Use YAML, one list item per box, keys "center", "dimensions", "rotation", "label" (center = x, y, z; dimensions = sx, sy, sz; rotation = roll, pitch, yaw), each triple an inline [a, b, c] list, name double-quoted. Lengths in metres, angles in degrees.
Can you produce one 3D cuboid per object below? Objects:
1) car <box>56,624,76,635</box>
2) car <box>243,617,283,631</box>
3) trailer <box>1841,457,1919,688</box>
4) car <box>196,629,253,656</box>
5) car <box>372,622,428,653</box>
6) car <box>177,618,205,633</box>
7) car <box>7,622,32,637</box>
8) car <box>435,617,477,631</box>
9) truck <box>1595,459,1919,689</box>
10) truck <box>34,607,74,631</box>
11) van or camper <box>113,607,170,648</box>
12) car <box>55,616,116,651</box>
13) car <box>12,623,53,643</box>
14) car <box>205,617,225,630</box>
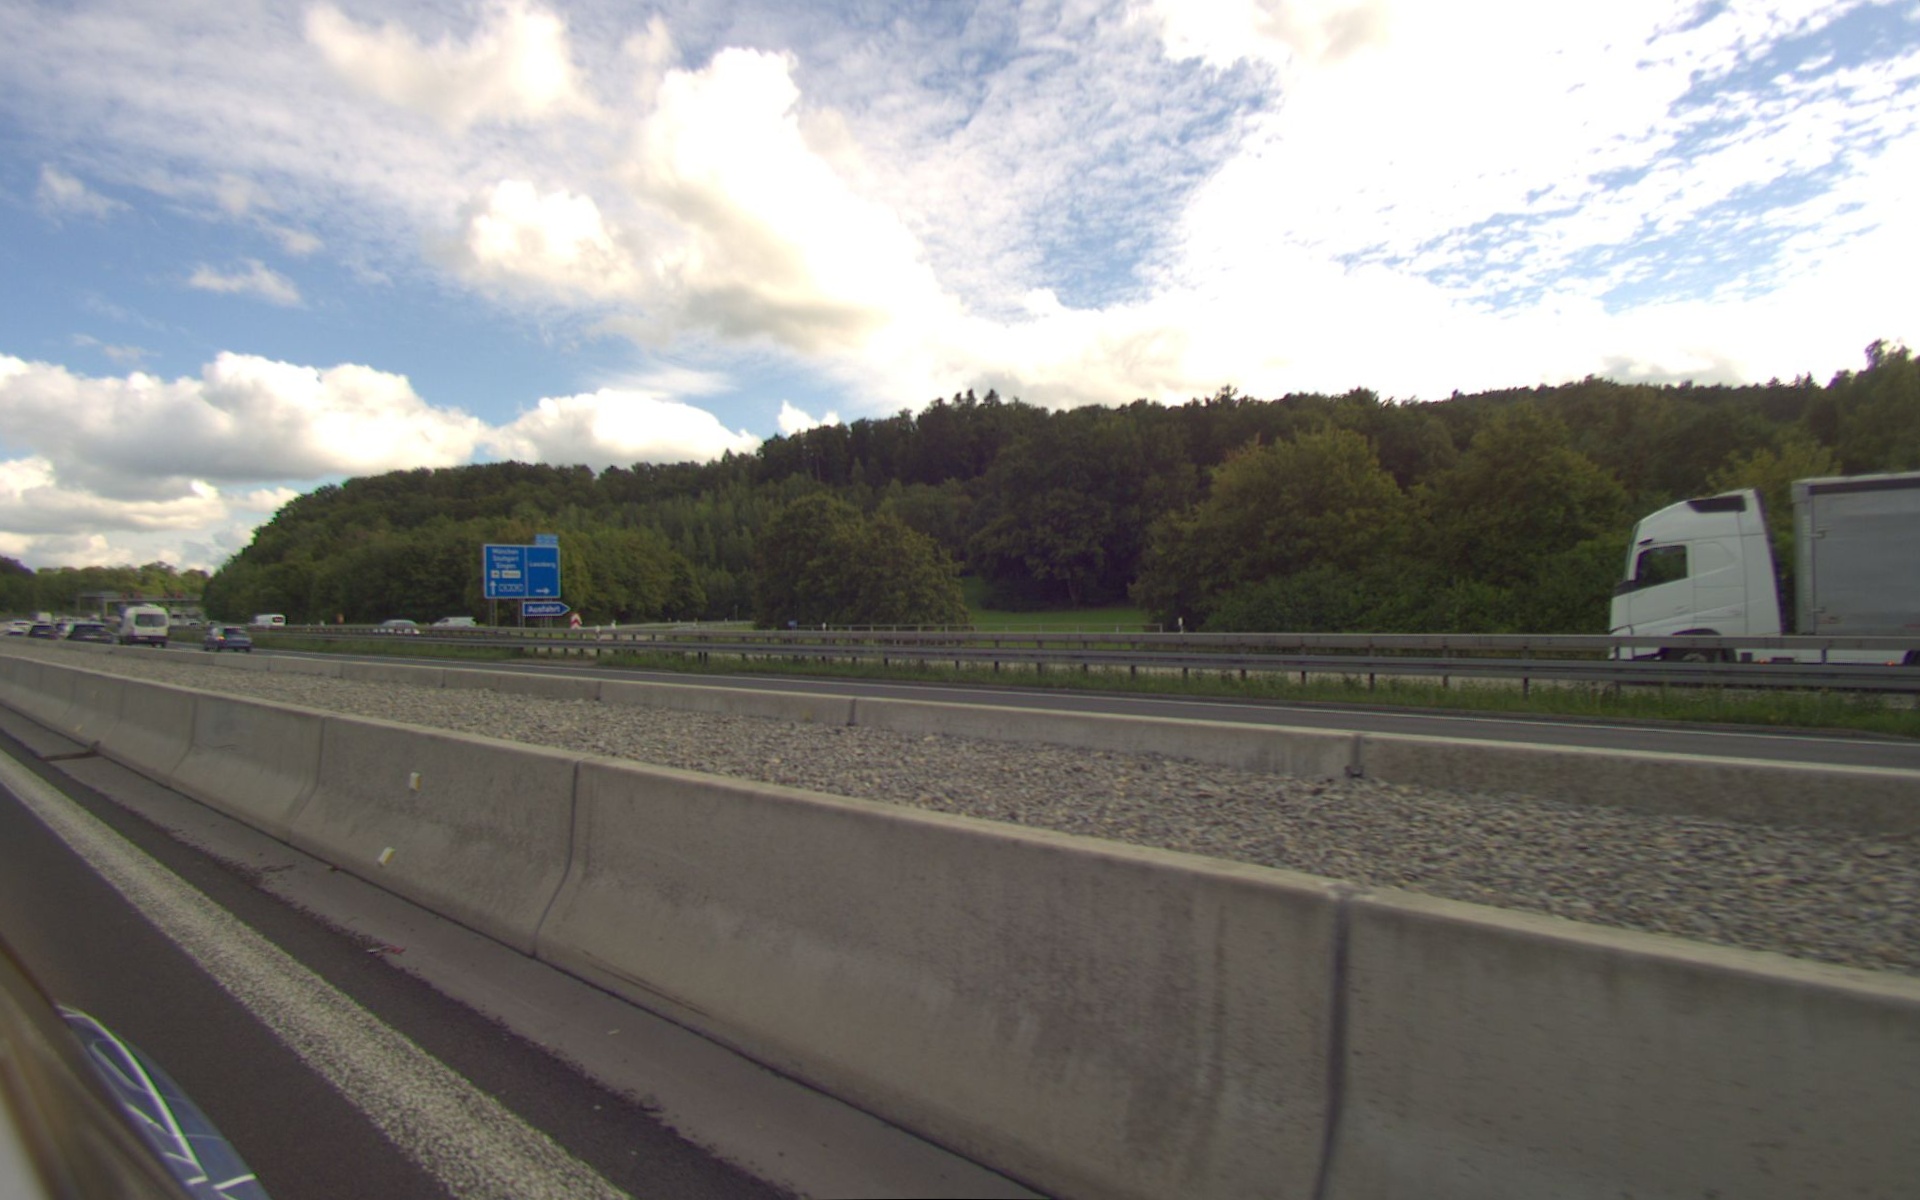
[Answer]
- center: [-125.796, 4.157, 142.427]
  dimensions: [1.871, 1.464, 3.943]
  rotation: [1, -1, -39]
  label: "car"
- center: [-100.476, 3.477, 145.867]
  dimensions: [5.110, 2.029, 1.990]
  rotation: [0, -1, 16]
  label: "car"
- center: [22.408, -0.545, 15.483]
  dimensions: [13.380, 4.124, 3.119]
  rotation: [-1, -1, 41]
  label: "trailer"
- center: [-41.844, 2.405, 57.540]
  dimensions: [4.206, 1.432, 1.732]
  rotation: [-1, -1, 41]
  label: "car"
- center: [-35.123, 2.312, 63.409]
  dimensions: [4.001, 1.852, 1.971]
  rotation: [-1, -1, 44]
  label: "car"
- center: [-92.629, 3.048, 121.910]
  dimensions: [4.000, 1.785, 1.972]
  rotation: [-1, -1, 43]
  label: "car"
- center: [-95.786, 2.990, 103.067]
  dimensions: [1.730, 1.464, 3.941]
  rotation: [1, -1, -42]
  label: "car"
- center: [-71.024, 3.381, 142.748]
  dimensions: [5.068, 1.937, 2.181]
  rotation: [0, -1, -17]
  label: "car"
- center: [16.773, -0.434, 20.437]
  dimensions: [6.284, 4.097, 3.119]
  rotation: [-1, -1, 41]
  label: "truck"
- center: [-170.801, 3.549, 190.813]
  dimensions: [3.549, 4.364, 8.558]
  rotation: [0, -1, -28]
  label: "truck"
- center: [-53.244, 1.748, 65.793]
  dimensions: [5.422, 2.554, 2.077]
  rotation: [-1, -1, 42]
  label: "van or camper"
- center: [-43.354, 1.626, 50.138]
  dimensions: [4.840, 1.642, 1.731]
  rotation: [-1, -1, 42]
  label: "car"
- center: [-68.315, 2.402, 74.529]
  dimensions: [4.424, 1.432, 1.844]
  rotation: [-1, -1, 42]
  label: "car"
- center: [-118.502, 3.795, 161.020]
  dimensions: [4.001, 2.029, 1.971]
  rotation: [-1, -1, 44]
  label: "car"
